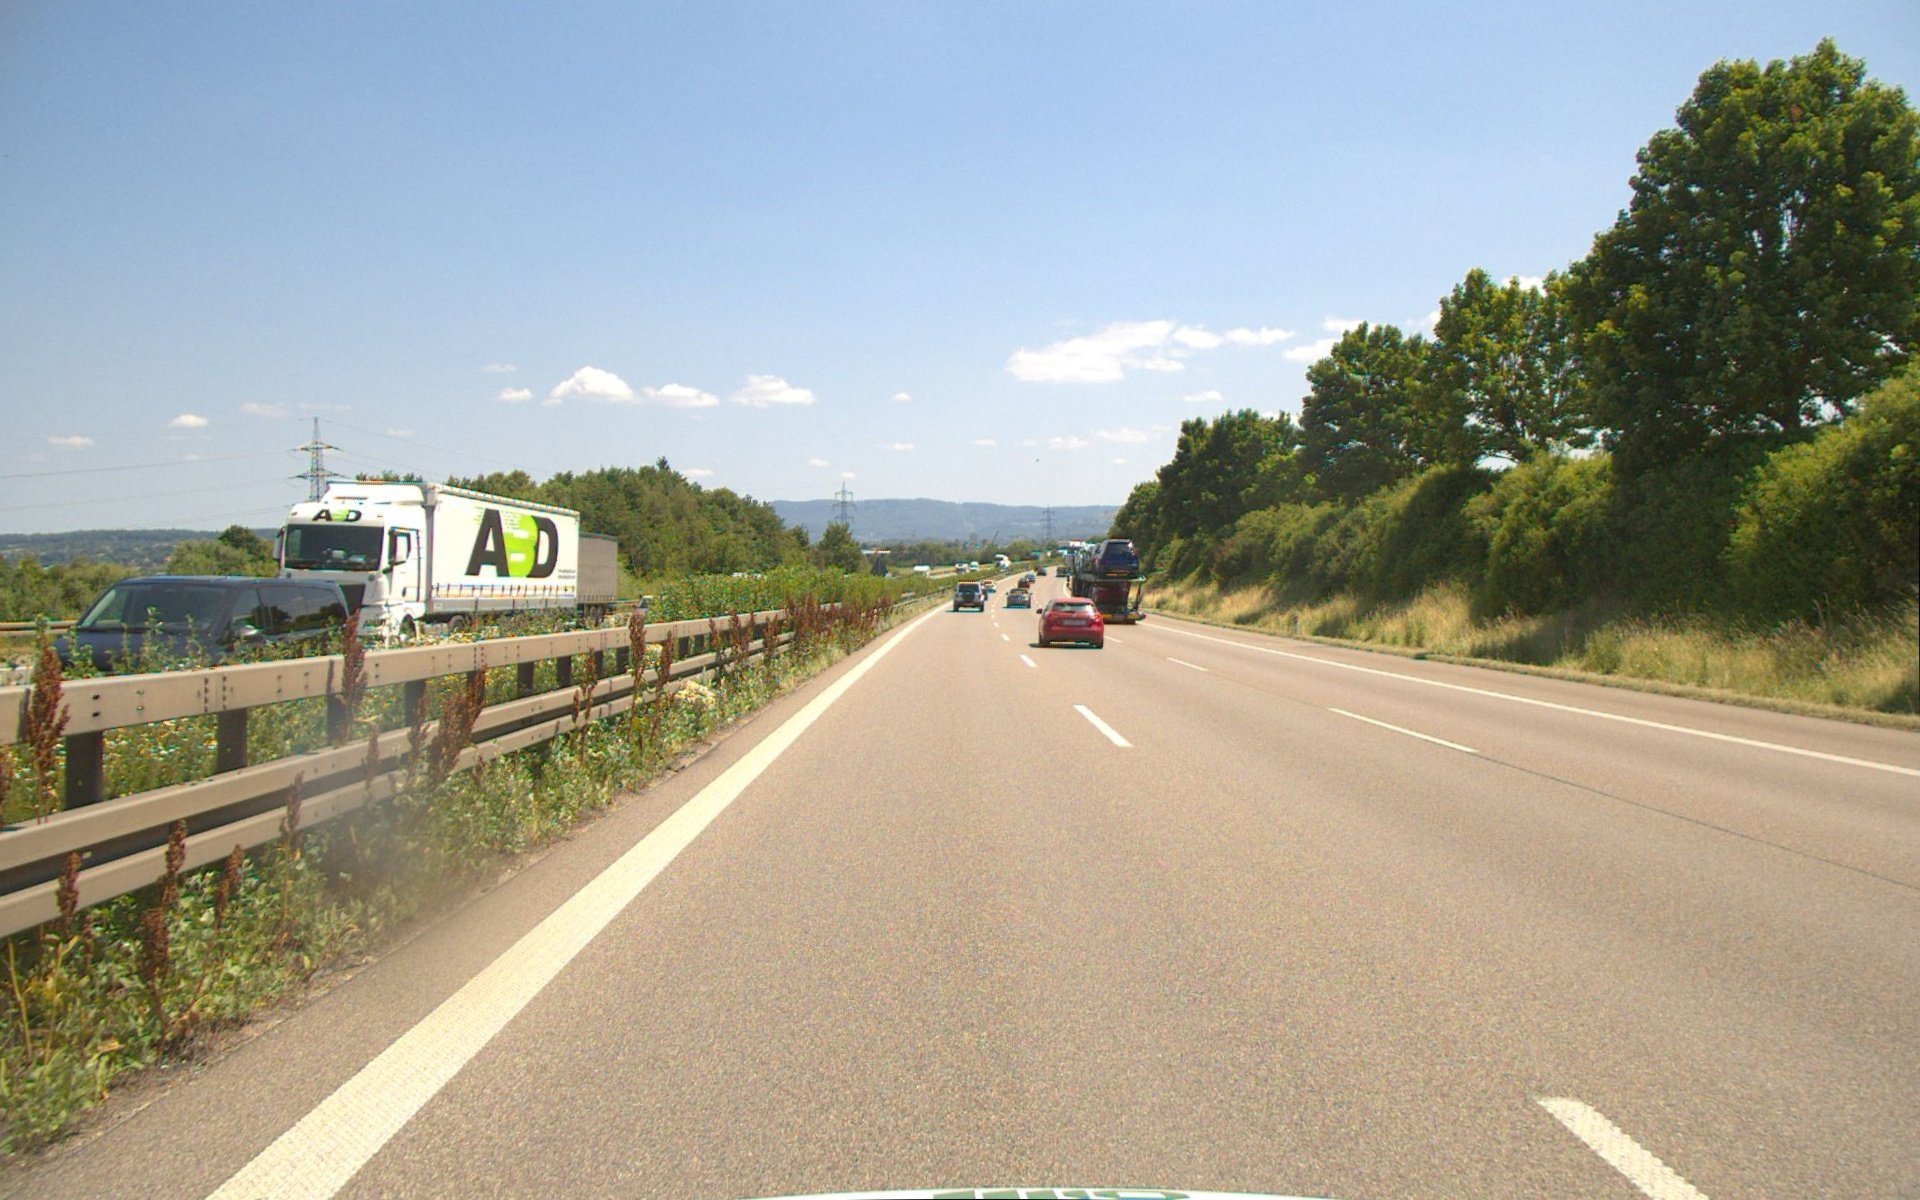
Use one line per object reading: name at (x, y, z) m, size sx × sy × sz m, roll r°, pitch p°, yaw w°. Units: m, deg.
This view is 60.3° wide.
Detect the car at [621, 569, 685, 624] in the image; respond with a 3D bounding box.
car at (-11.941, -0.175, 64.512) m, size 1.801 × 2.049 × 4.000 m, roll 1°, pitch 1°, yaw -1°

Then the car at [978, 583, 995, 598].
car at (2.424, -0.858, 150.853) m, size 1.425 × 1.289 × 3.339 m, roll 1°, pitch 1°, yaw 3°

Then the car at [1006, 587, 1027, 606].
car at (4.118, -0.263, 121.096) m, size 1.422 × 1.289 × 3.538 m, roll 1°, pitch 1°, yaw 0°

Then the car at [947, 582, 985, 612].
car at (0.351, -0.227, 105.746) m, size 2.042 × 1.861 × 4.750 m, roll 1°, pitch 1°, yaw -4°

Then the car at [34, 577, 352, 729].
car at (-9.054, 0.541, 19.957) m, size 1.876 × 1.616 × 4.222 m, roll 1°, pitch 1°, yaw 0°

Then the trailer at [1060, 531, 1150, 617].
trailer at (7.317, -1.344, 86.043) m, size 2.797 × 4.063 × 15.391 m, roll 1°, pitch 1°, yaw -2°

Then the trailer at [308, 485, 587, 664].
trailer at (-13.586, -0.699, 45.743) m, size 3.127 × 4.147 × 14.044 m, roll 1°, pitch 1°, yaw 1°

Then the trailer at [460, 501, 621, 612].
trailer at (-17.218, -1.725, 69.201) m, size 2.907 × 4.147 × 14.044 m, roll 1°, pitch 1°, yaw 1°

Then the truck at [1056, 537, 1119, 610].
truck at (7.118, -1.467, 92.999) m, size 2.699 × 3.920 × 6.641 m, roll 1°, pitch 1°, yaw -2°

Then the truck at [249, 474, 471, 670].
truck at (-13.702, -0.641, 38.228) m, size 3.110 × 4.181 × 5.227 m, roll 1°, pitch 1°, yaw 1°

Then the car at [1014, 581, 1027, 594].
car at (8.179, -1.750, 223.664) m, size 1.601 × 1.734 × 3.403 m, roll 1°, pitch 1°, yaw 5°

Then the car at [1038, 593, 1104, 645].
car at (3.212, 0.534, 48.420) m, size 1.651 × 1.403 × 3.949 m, roll 1°, pitch 1°, yaw 0°

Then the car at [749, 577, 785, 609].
car at (-11.587, -0.442, 99.352) m, size 1.595 × 1.860 × 3.770 m, roll 1°, pitch 1°, yaw 1°

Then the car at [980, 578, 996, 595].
car at (3.361, -1.613, 198.359) m, size 1.662 × 2.049 × 3.824 m, roll 1°, pitch 1°, yaw 5°
